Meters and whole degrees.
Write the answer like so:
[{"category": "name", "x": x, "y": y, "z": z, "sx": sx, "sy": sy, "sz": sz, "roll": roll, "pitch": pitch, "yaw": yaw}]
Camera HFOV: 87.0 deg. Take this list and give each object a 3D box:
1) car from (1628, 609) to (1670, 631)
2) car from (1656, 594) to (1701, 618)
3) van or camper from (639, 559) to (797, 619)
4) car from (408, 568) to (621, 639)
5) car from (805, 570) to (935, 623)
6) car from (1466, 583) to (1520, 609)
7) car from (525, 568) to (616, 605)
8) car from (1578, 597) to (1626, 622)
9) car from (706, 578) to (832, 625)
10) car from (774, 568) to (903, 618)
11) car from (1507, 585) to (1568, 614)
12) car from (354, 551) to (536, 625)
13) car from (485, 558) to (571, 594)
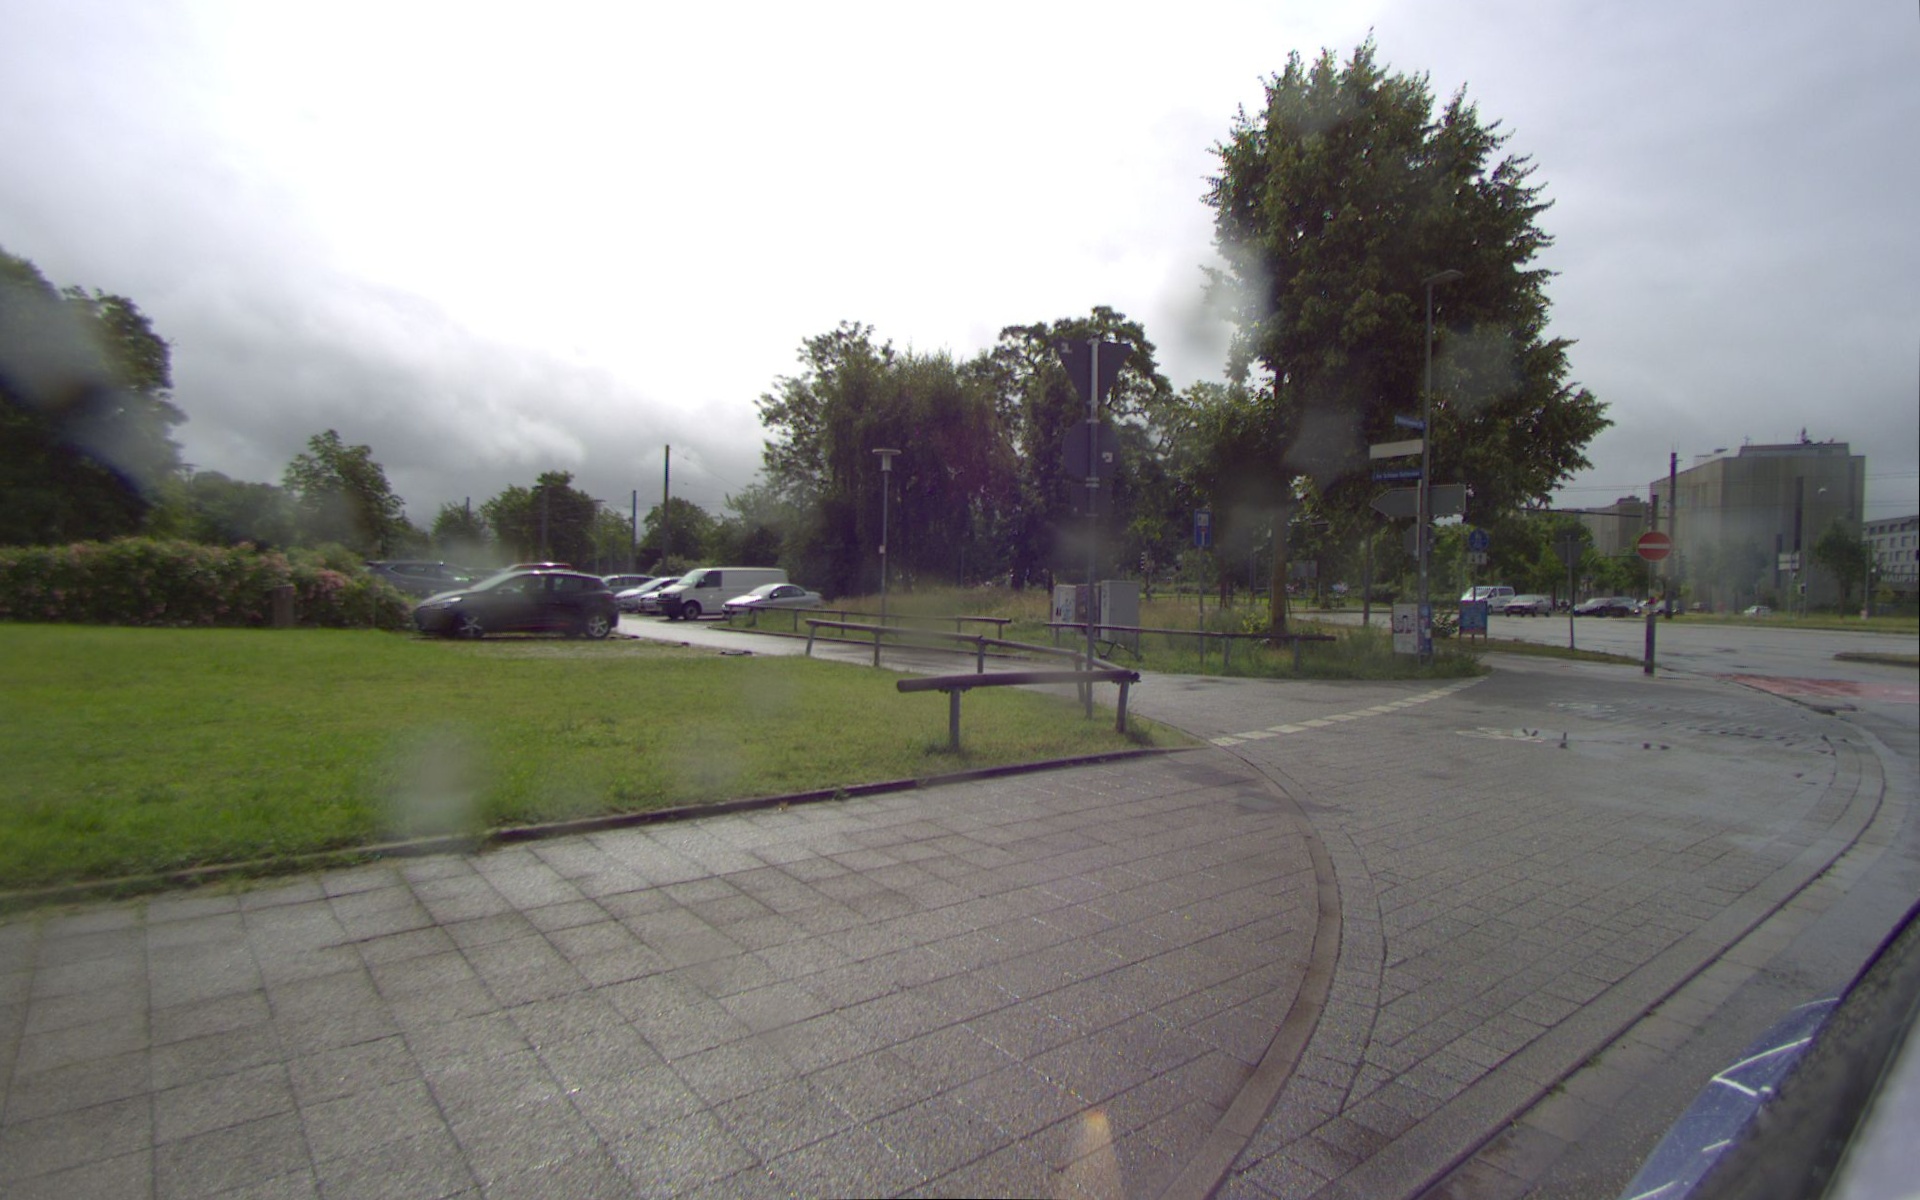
[{"category": "car", "x": 58.027, "y": 1.687, "z": 85.216, "sx": 3.929, "sy": 1.771, "sz": 1.867, "roll": 1, "pitch": 1, "yaw": -40}, {"category": "car", "x": 55.679, "y": 0.444, "z": 78.400, "sx": 3.929, "sy": 1.771, "sz": 1.867, "roll": 1, "pitch": 1, "yaw": -40}, {"category": "van or camper", "x": -9.219, "y": -0.377, "z": 38.918, "sx": 5.576, "sy": 2.131, "sz": 1.998, "roll": 1, "pitch": 0, "yaw": -40}, {"category": "car", "x": -9.199, "y": 0.077, "z": 21.057, "sx": 3.807, "sy": 1.342, "sz": 1.390, "roll": 1, "pitch": 1, "yaw": -41}, {"category": "car", "x": -2.837, "y": -0.099, "z": 32.328, "sx": 3.705, "sy": 1.568, "sz": 1.933, "roll": 1, "pitch": 1, "yaw": -41}, {"category": "car", "x": 37.310, "y": -0.273, "z": 70.793, "sx": 4.153, "sy": 1.735, "sz": 1.891, "roll": 1, "pitch": 2, "yaw": -40}, {"category": "car", "x": -20.010, "y": -0.671, "z": 52.015, "sx": 3.930, "sy": 1.760, "sz": 1.933, "roll": 1, "pitch": 1, "yaw": -41}, {"category": "car", "x": 44.666, "y": 0.652, "z": 70.386, "sx": 3.929, "sy": 1.616, "sz": 1.769, "roll": 0, "pitch": 1, "yaw": -40}, {"category": "car", "x": -6.751, "y": 0.055, "z": 35.960, "sx": 3.930, "sy": 1.568, "sz": 1.933, "roll": 1, "pitch": 1, "yaw": -41}, {"category": "car", "x": -4.093, "y": -0.227, "z": 34.317, "sx": 3.930, "sy": 1.568, "sz": 1.933, "roll": 1, "pitch": 1, "yaw": -41}, {"category": "car", "x": 36.101, "y": -0.008, "z": 63.196, "sx": 4.124, "sy": 1.710, "sz": 1.669, "roll": 1, "pitch": 0, "yaw": -35}, {"category": "car", "x": -14.027, "y": -0.302, "z": 27.675, "sx": 4.060, "sy": 1.873, "sz": 1.933, "roll": 1, "pitch": 1, "yaw": -41}, {"category": "car", "x": -25.364, "y": -1.414, "z": 59.485, "sx": 4.198, "sy": 1.952, "sz": 1.933, "roll": 1, "pitch": 1, "yaw": -41}]
